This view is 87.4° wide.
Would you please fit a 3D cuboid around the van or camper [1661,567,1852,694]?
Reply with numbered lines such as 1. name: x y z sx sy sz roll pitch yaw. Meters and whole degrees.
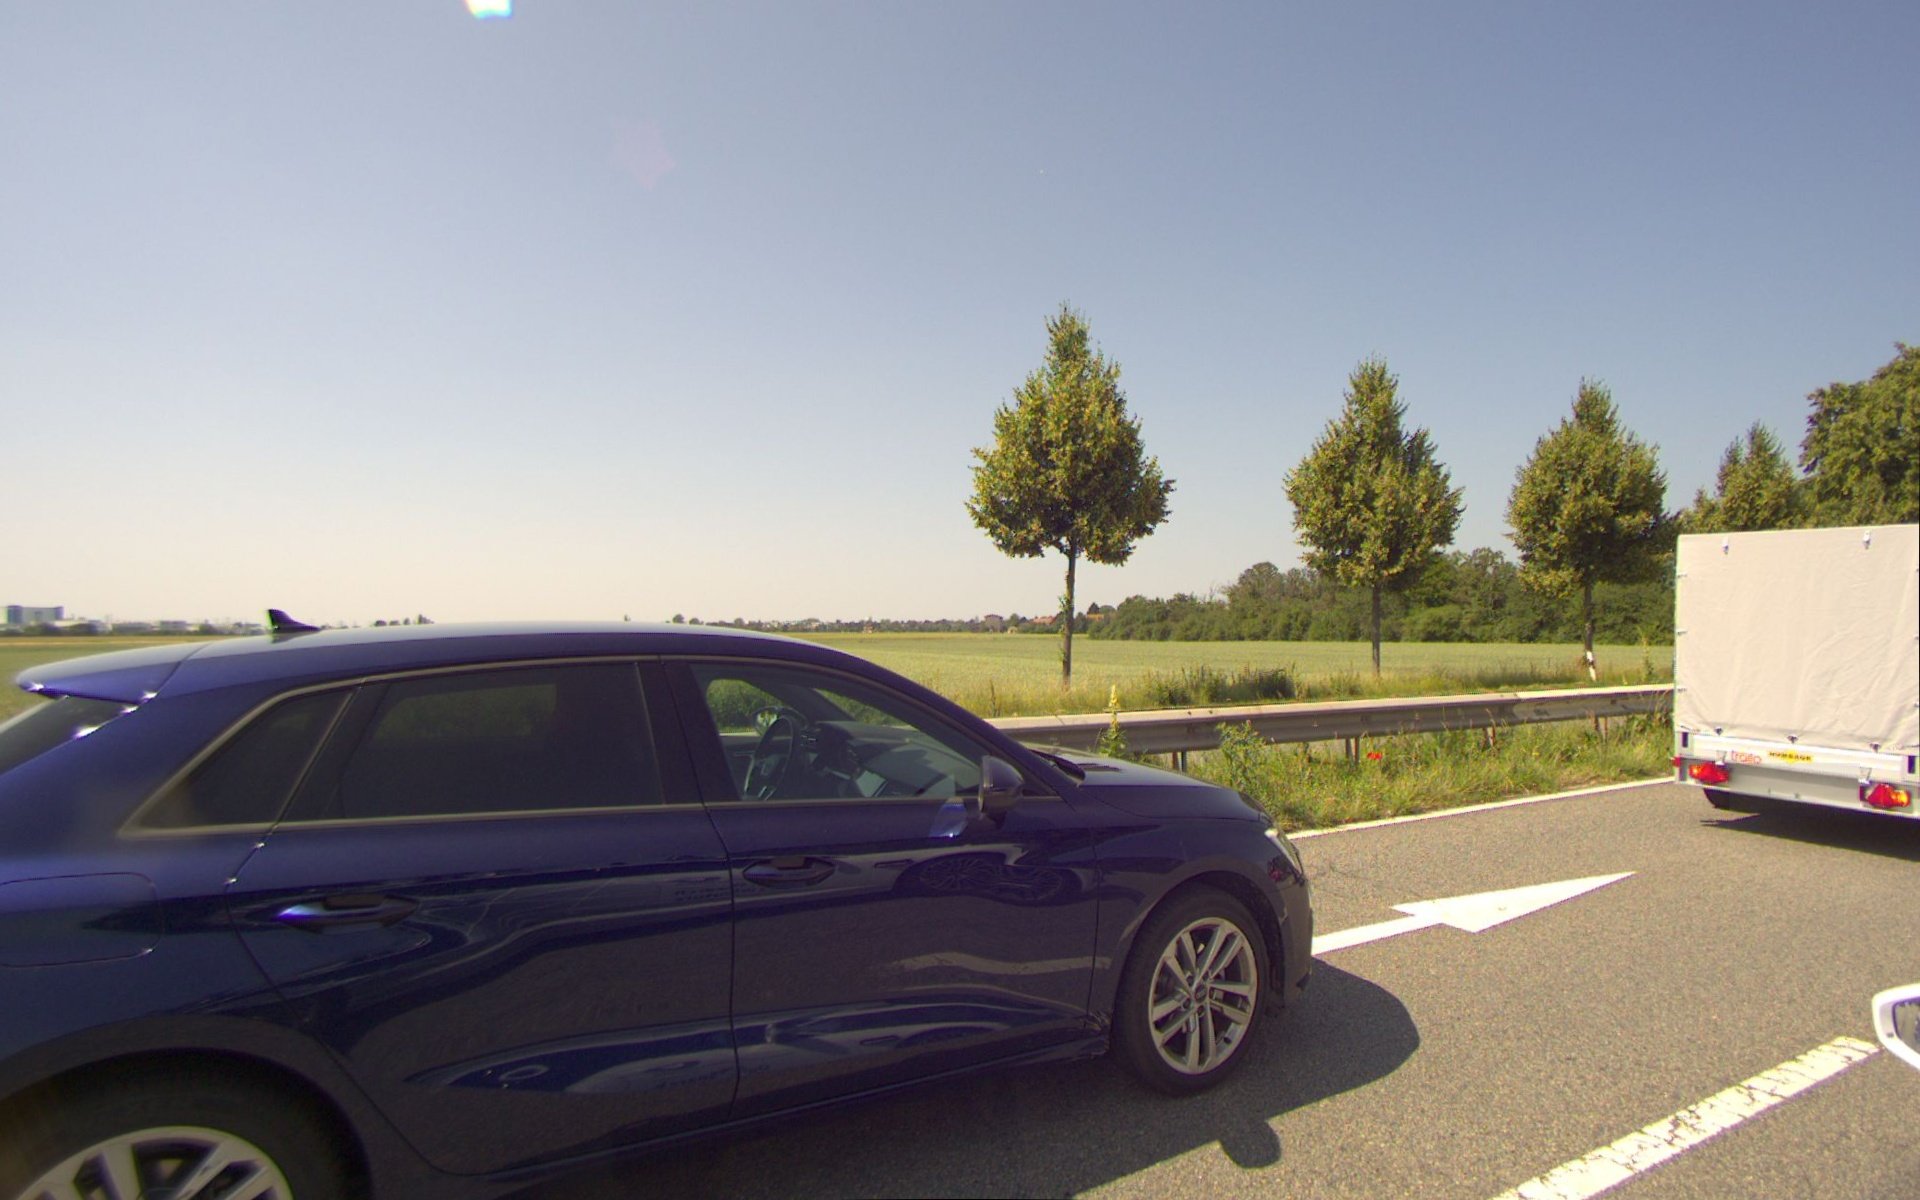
1. van or camper: 21.672 0.805 27.263 5.631 3.140 2.251 1 -1 -32

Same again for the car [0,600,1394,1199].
1. car: -0.633 0.768 3.182 3.984 1.484 1.708 1 0 -31

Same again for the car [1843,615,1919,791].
1. car: 10.385 0.926 9.550 4.312 1.523 1.737 1 0 -31

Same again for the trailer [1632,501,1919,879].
1. trailer: 6.940 0.558 7.563 4.125 2.202 1.493 1 0 -31
